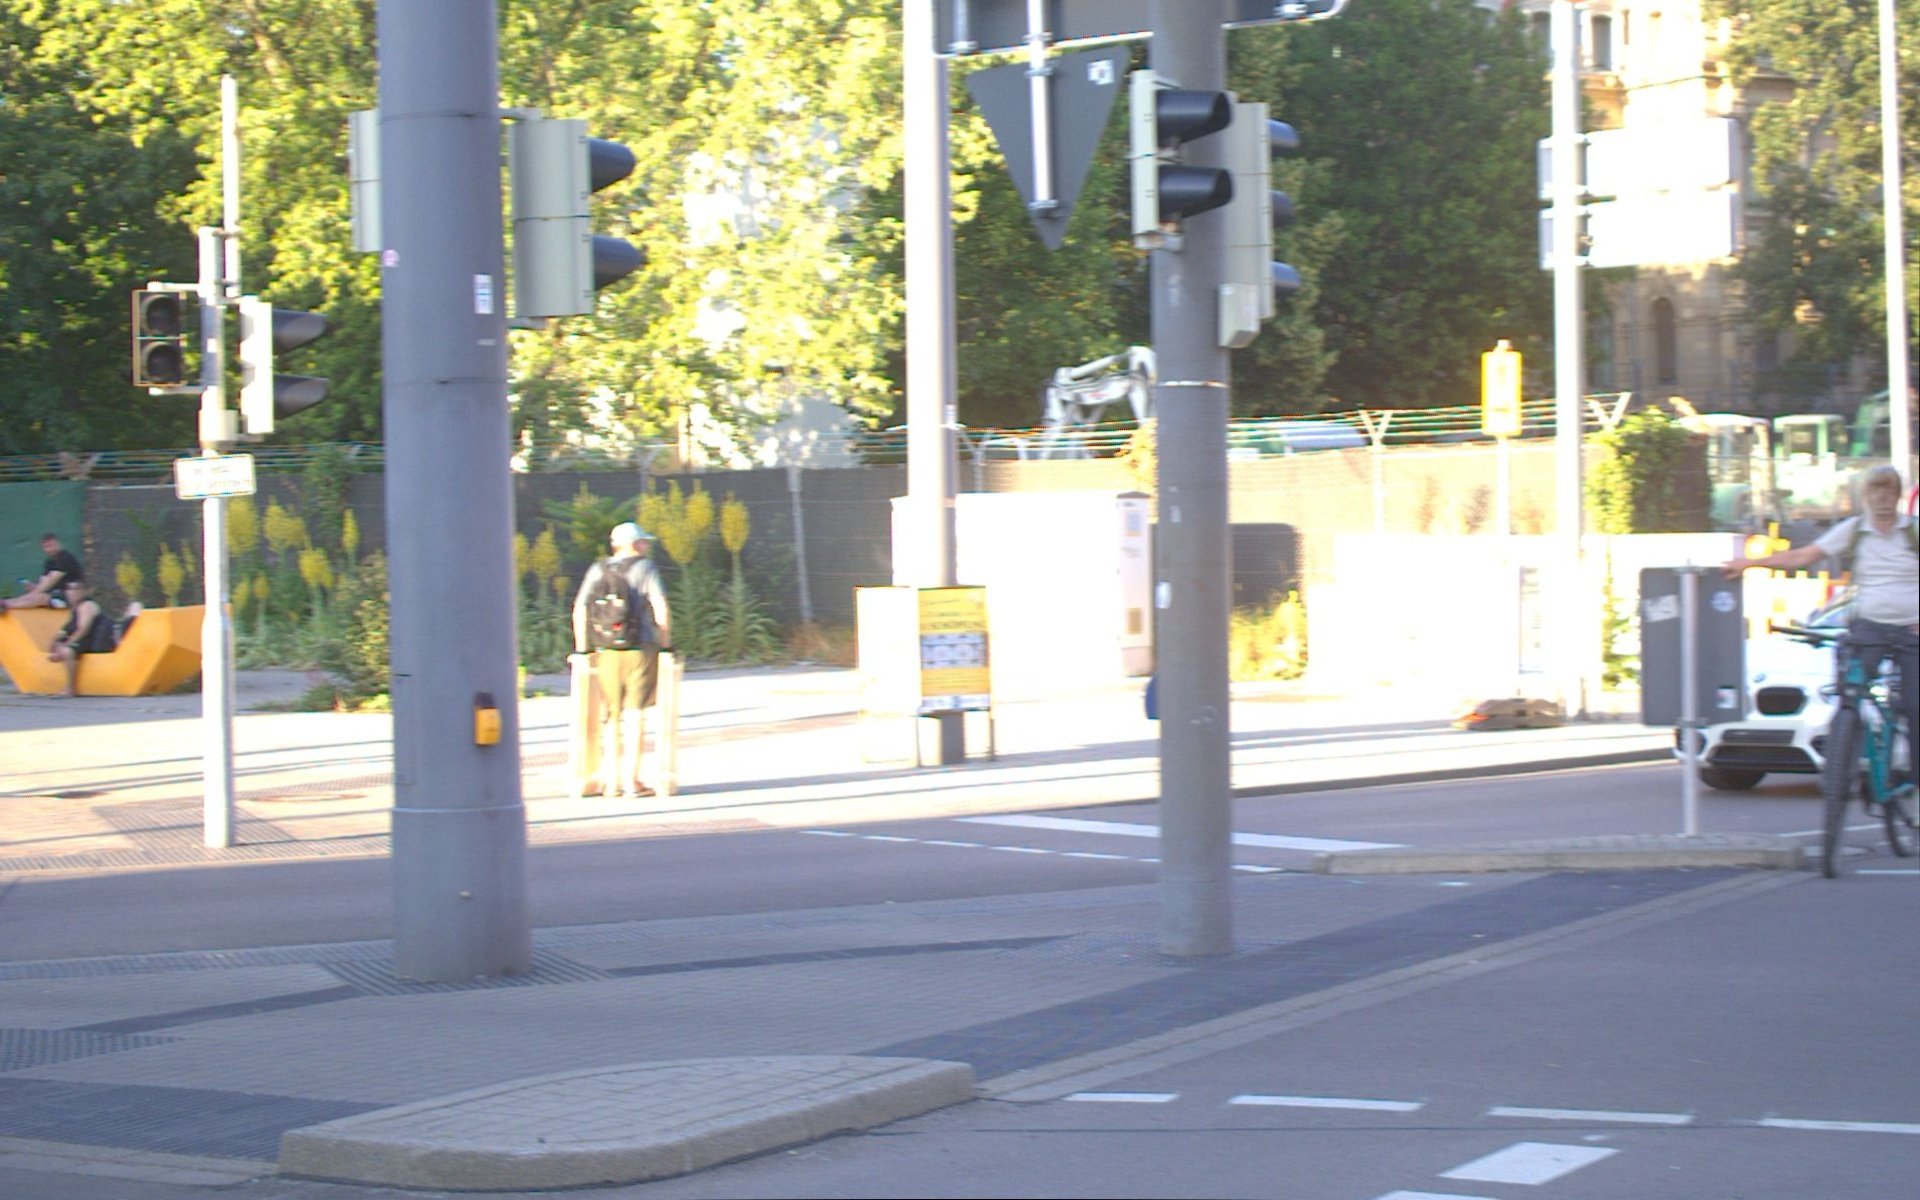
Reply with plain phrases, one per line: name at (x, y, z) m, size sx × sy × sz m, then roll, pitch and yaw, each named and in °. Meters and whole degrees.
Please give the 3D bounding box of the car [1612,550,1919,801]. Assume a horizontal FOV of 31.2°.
car at (6.219, 0.382, 21.455) m, size 4.292 × 1.401 × 1.916 m, roll -2°, pitch 1°, yaw -40°

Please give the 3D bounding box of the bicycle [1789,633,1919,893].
bicycle at (4.159, 0.694, 15.347) m, size 0.595 × 1.019 × 1.845 m, roll -1°, pitch 1°, yaw 23°

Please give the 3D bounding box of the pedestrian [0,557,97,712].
pedestrian at (-10.094, 0.375, 37.844) m, size 0.763 × 1.659 × 0.820 m, roll -1°, pitch 1°, yaw 38°

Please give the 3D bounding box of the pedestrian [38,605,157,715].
pedestrian at (-9.381, 0.648, 37.389) m, size 0.734 × 1.154 × 0.988 m, roll -1°, pitch 1°, yaw 38°

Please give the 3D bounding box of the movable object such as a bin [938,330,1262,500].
movable object such as a bin at (1.748, -2.374, 45.013) m, size 1.993 × 2.007 × 5.025 m, roll -2°, pitch 1°, yaw -27°

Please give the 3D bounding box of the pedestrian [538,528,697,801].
pedestrian at (-2.244, 0.403, 22.456) m, size 0.940 × 1.729 × 0.822 m, roll -1°, pitch 1°, yaw -9°

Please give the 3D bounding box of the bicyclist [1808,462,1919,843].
bicyclist at (4.181, 0.221, 15.429) m, size 0.595 × 1.665 × 0.747 m, roll -1°, pitch 1°, yaw 22°
